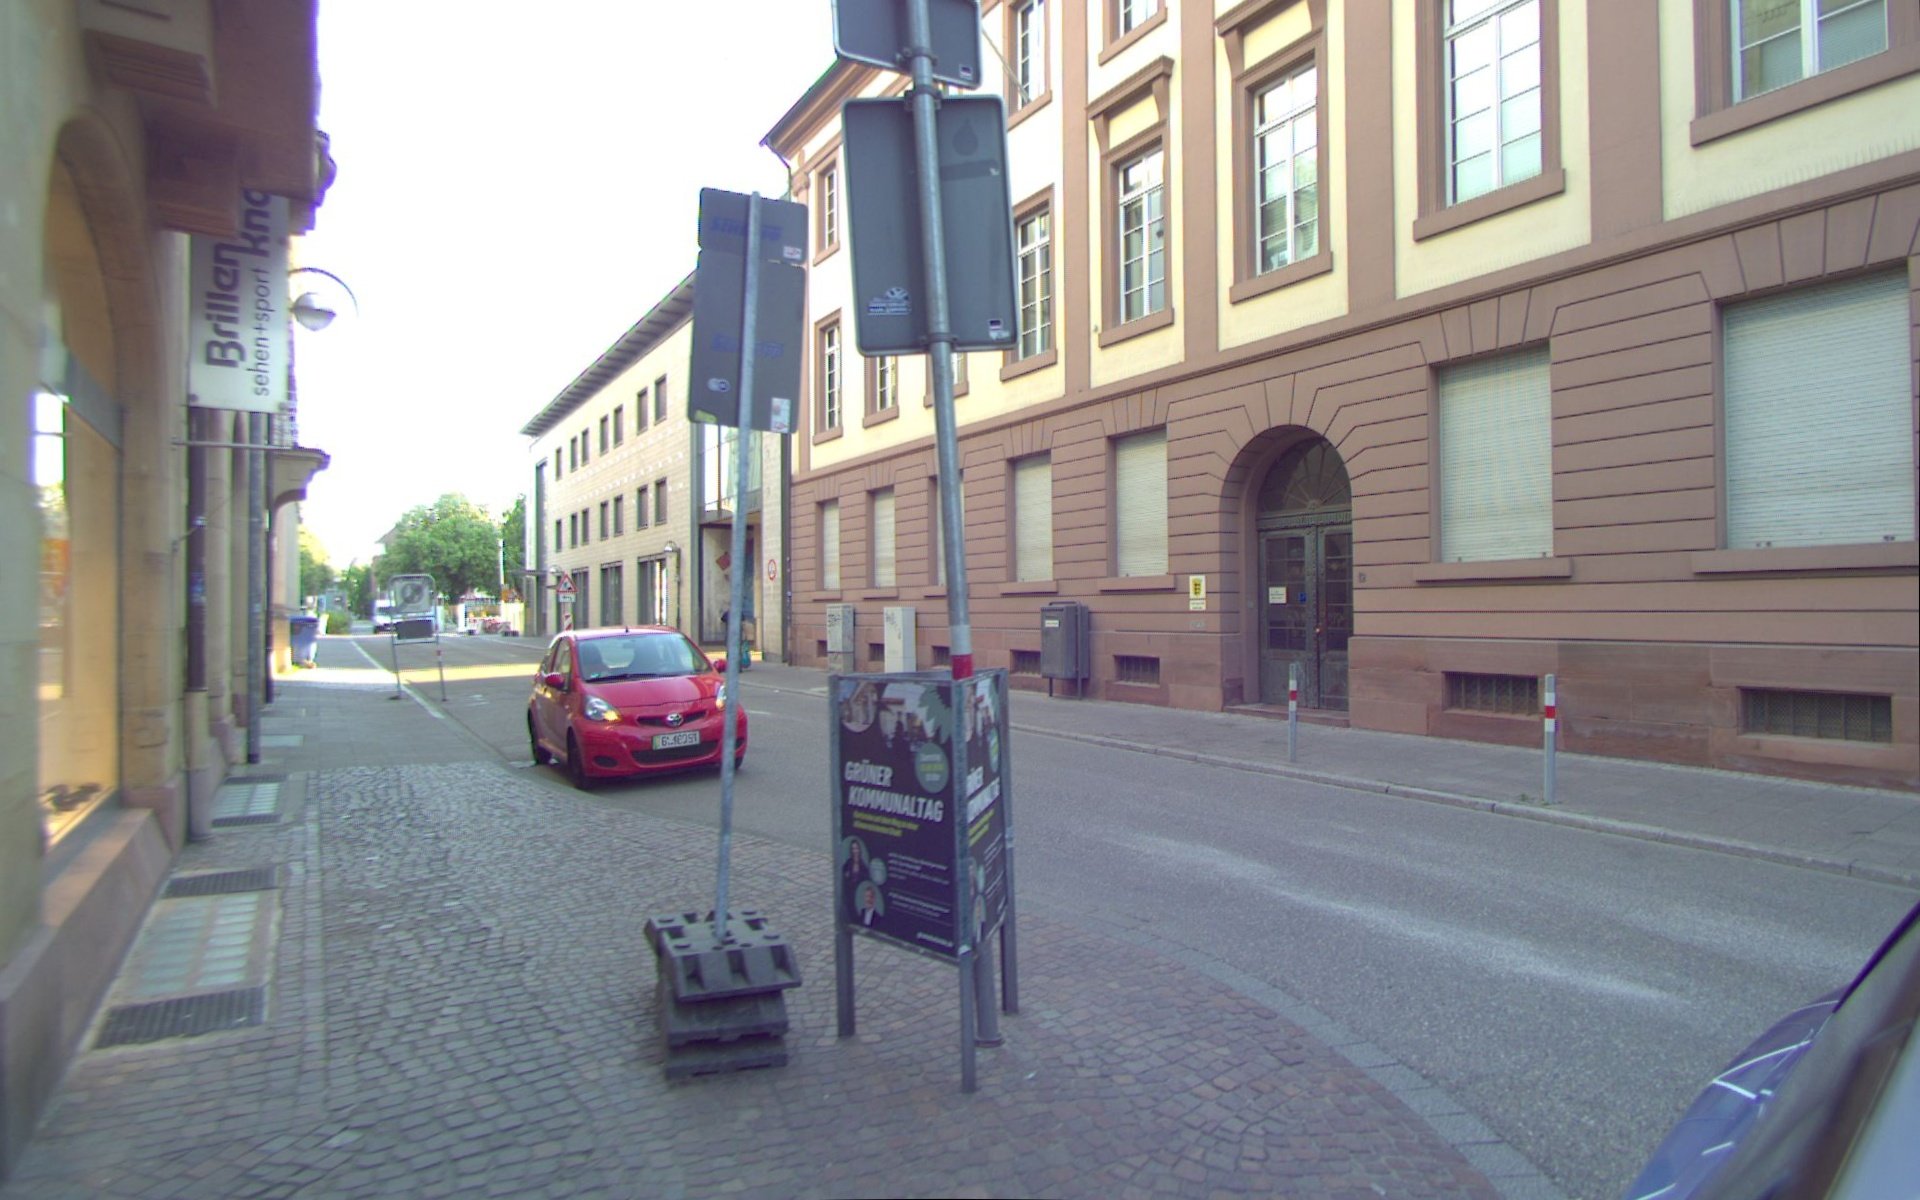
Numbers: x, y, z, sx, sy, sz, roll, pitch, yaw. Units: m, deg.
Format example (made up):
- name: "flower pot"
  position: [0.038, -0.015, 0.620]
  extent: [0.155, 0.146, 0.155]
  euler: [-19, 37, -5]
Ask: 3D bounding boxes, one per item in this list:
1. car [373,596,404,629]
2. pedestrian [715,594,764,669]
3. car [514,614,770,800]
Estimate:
- name: "car"
  position: [-41.784, 0.888, 74.033]
  extent: [1.901, 2.334, 4.004]
  euler: [0, 0, -29]
- name: "pedestrian"
  position: [-5.464, 0.768, 25.049]
  extent: [0.911, 1.801, 0.941]
  euler: [0, -1, -31]
- name: "car"
  position: [-3.498, 0.928, 10.613]
  extent: [1.618, 1.460, 4.003]
  euler: [-3, 1, -31]
